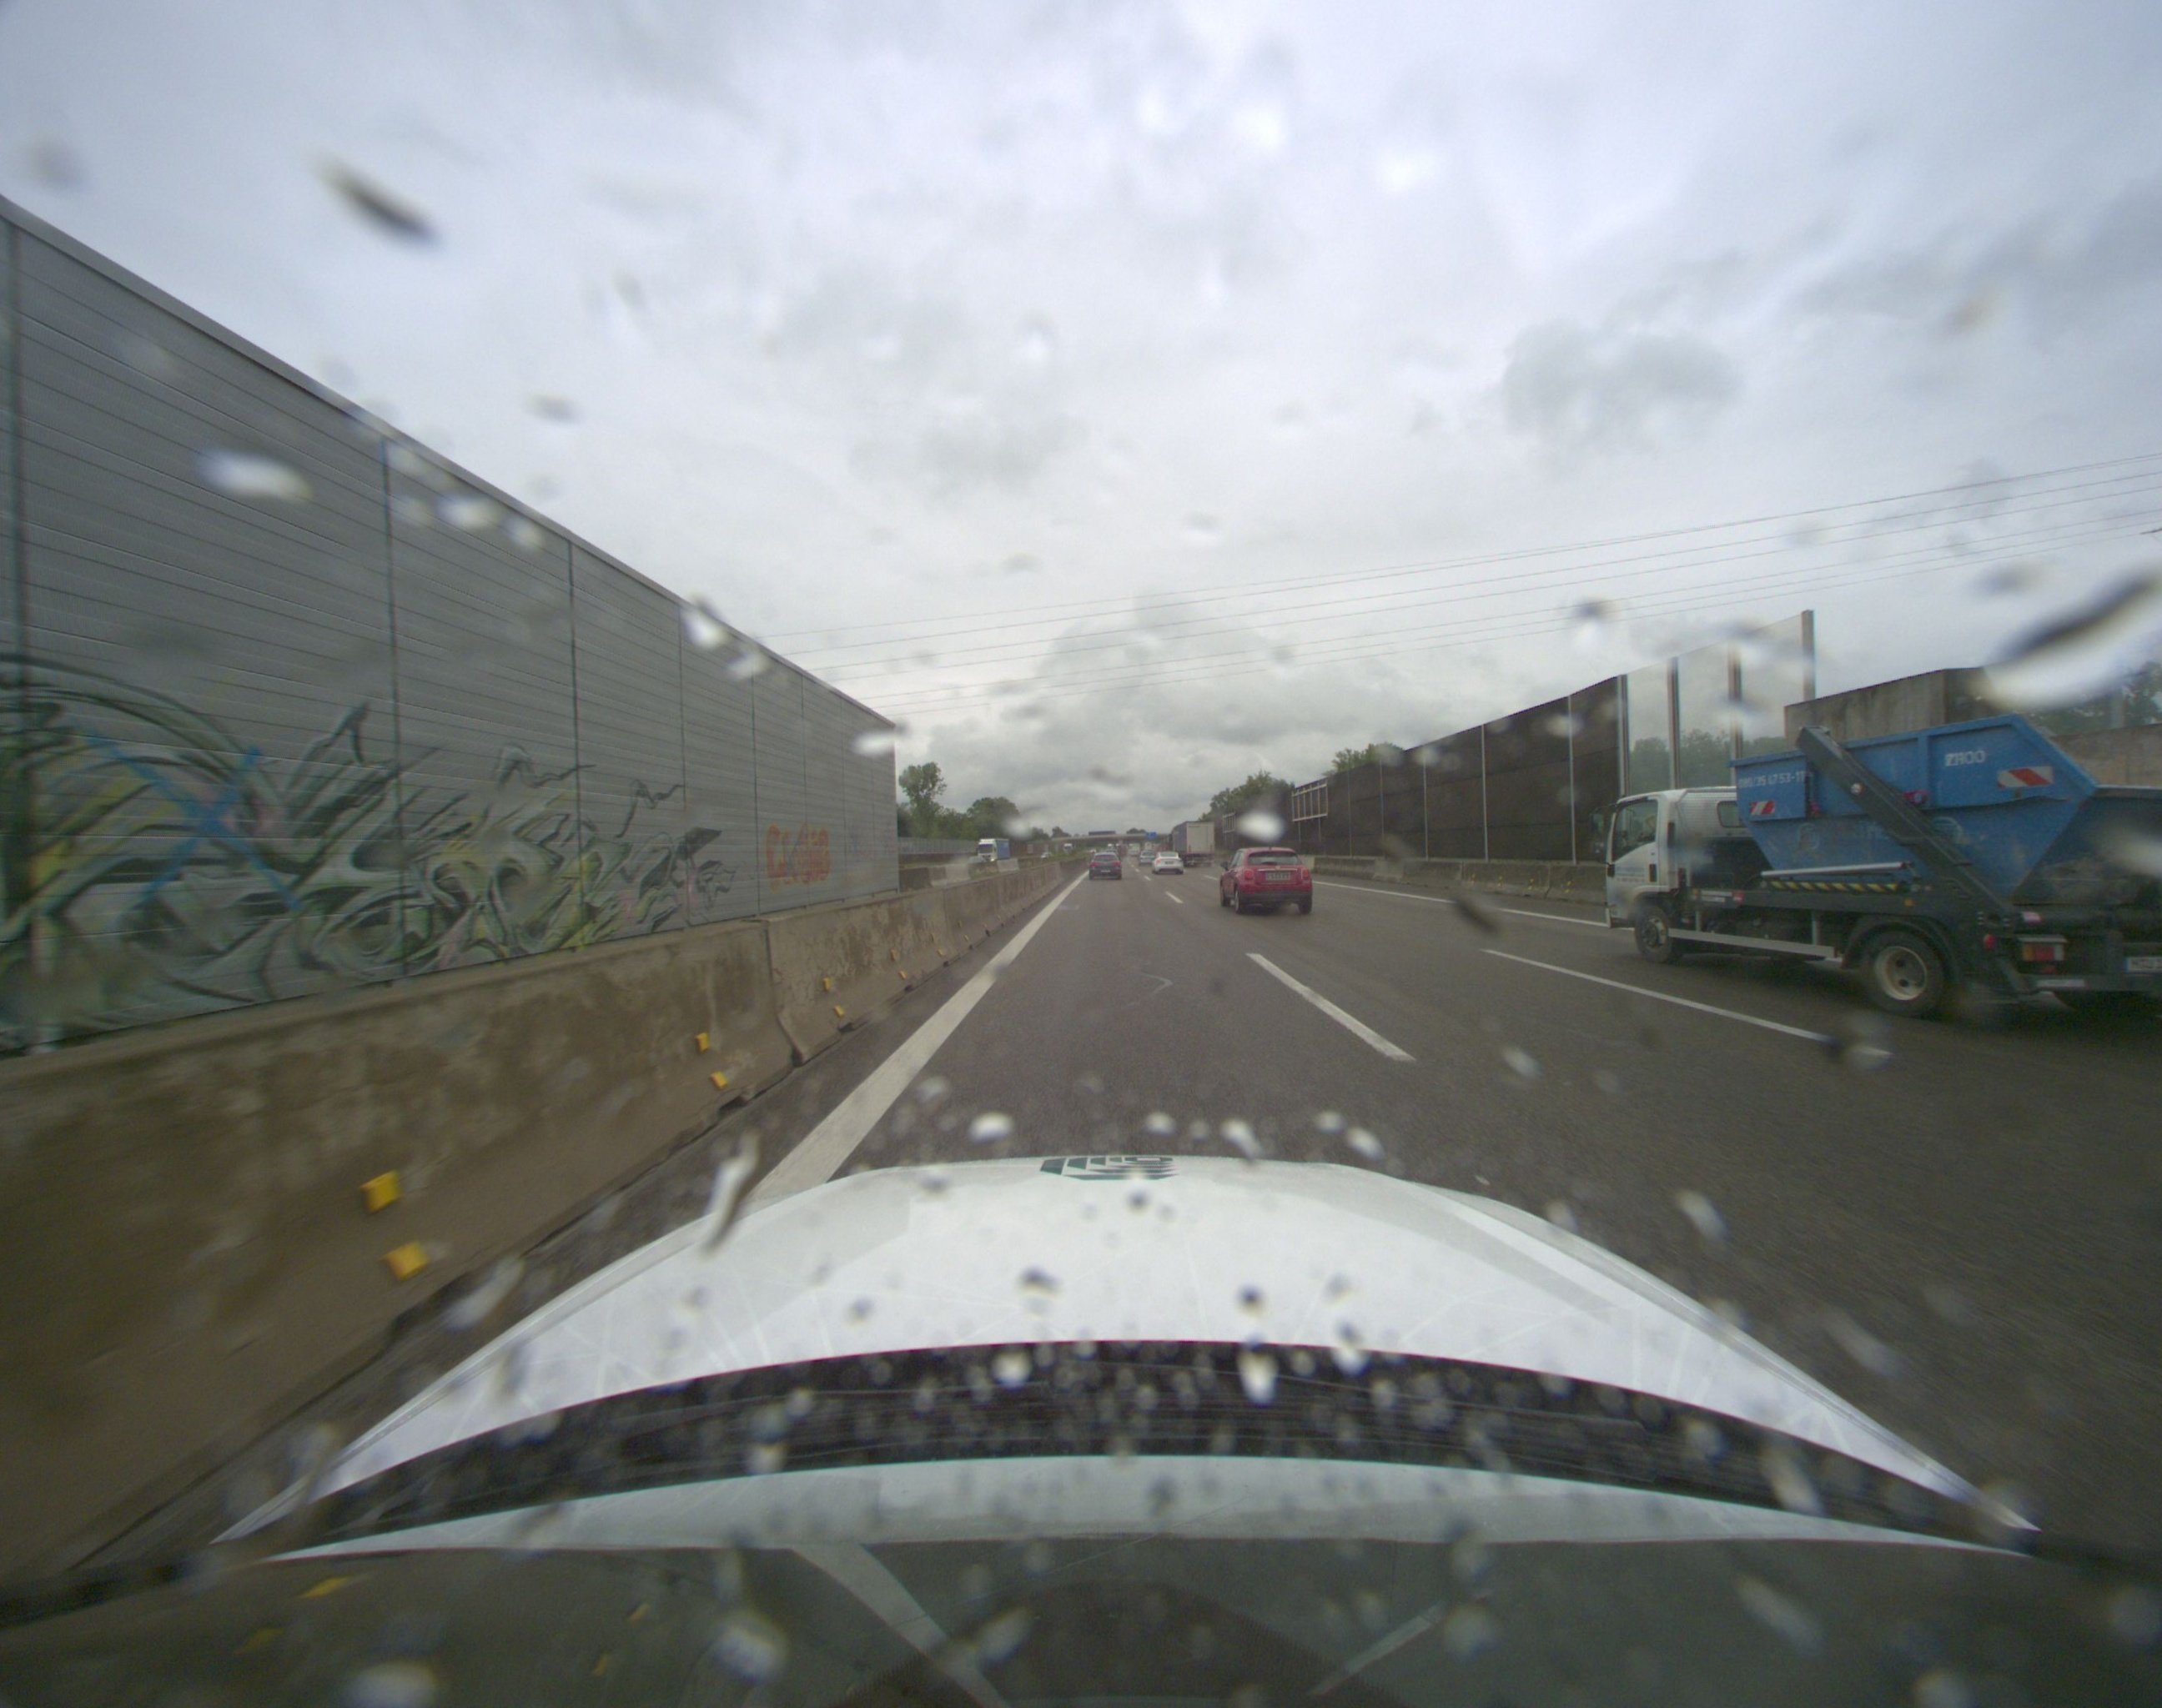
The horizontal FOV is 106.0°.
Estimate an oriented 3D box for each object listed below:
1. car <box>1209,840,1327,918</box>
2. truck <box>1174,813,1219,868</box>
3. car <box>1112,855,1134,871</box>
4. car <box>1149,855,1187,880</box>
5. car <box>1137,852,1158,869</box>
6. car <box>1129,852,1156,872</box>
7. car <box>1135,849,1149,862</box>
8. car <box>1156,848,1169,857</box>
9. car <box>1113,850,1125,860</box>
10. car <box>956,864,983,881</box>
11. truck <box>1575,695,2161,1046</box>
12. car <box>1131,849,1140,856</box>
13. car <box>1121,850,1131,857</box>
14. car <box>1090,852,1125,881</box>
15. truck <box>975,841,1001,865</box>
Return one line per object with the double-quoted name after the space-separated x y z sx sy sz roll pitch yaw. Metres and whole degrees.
4.604 0.546 20.662 1.951 1.647 3.999 -4 1 -1 "car"
10.276 -1.131 73.432 3.034 4.734 7.679 0 0 0 "truck"
4.426 0.922 85.923 1.988 1.585 3.998 -2 0 -1 "car"
5.561 0.838 52.627 1.987 1.486 3.999 -1 0 -1 "car"
6.492 0.608 79.961 1.697 1.543 3.837 -1 0 -1 "car"
4.876 0.582 65.231 1.986 1.519 4.003 -1 0 2 "car"
9.611 0.263 127.931 1.987 2.013 4.000 0 0 0 "car"
14.432 -0.330 144.160 1.986 1.519 4.001 -1 0 1 "car"
6.758 0.115 146.564 1.987 1.815 4.000 -1 0 0 "car"
-12.025 2.023 88.151 2.211 1.626 4.637 -1 -4 0 "car"
8.236 0.100 8.861 2.350 2.506 6.151 -1 0 4 "truck"
12.299 -0.272 184.127 1.986 1.519 4.001 -1 0 1 "car"
9.526 -0.112 173.539 1.986 1.623 4.003 -1 0 2 "car"
1.397 0.627 43.957 1.758 1.453 4.000 -1 0 1 "car"
-14.105 -0.142 124.565 2.982 3.691 6.884 0 0 2 "truck"
